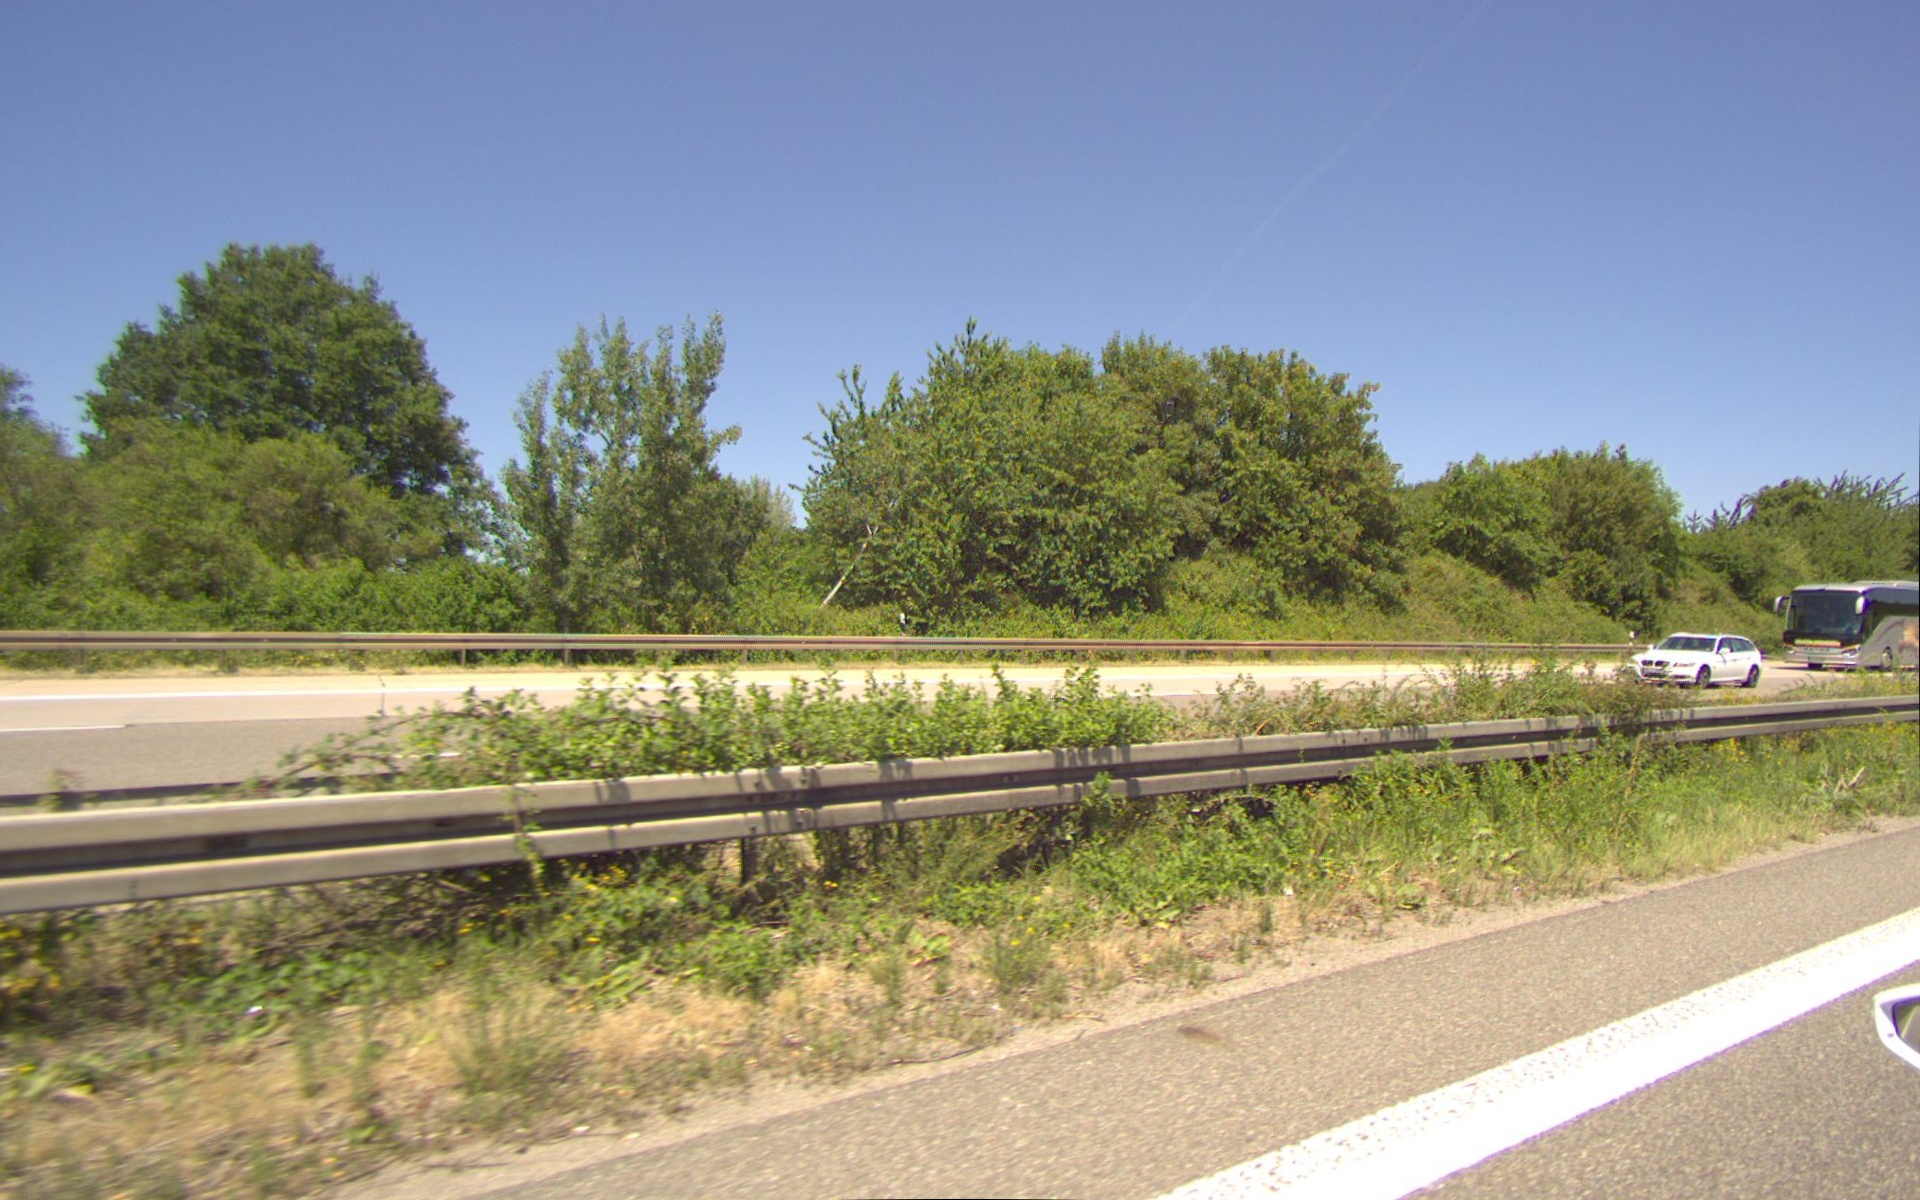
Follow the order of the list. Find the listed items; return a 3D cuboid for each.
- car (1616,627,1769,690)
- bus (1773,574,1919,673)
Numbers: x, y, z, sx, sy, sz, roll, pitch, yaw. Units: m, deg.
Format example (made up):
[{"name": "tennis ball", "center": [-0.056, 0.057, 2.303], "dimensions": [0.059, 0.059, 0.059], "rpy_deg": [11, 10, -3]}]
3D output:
[{"name": "car", "center": [19.956, 1.566, 27.334], "dimensions": [4.280, 1.535, 1.759], "rpy_deg": [2, 0, -30]}, {"name": "bus", "center": [39.047, 1.066, 42.630], "dimensions": [12.850, 3.757, 2.727], "rpy_deg": [2, 0, -31]}]
